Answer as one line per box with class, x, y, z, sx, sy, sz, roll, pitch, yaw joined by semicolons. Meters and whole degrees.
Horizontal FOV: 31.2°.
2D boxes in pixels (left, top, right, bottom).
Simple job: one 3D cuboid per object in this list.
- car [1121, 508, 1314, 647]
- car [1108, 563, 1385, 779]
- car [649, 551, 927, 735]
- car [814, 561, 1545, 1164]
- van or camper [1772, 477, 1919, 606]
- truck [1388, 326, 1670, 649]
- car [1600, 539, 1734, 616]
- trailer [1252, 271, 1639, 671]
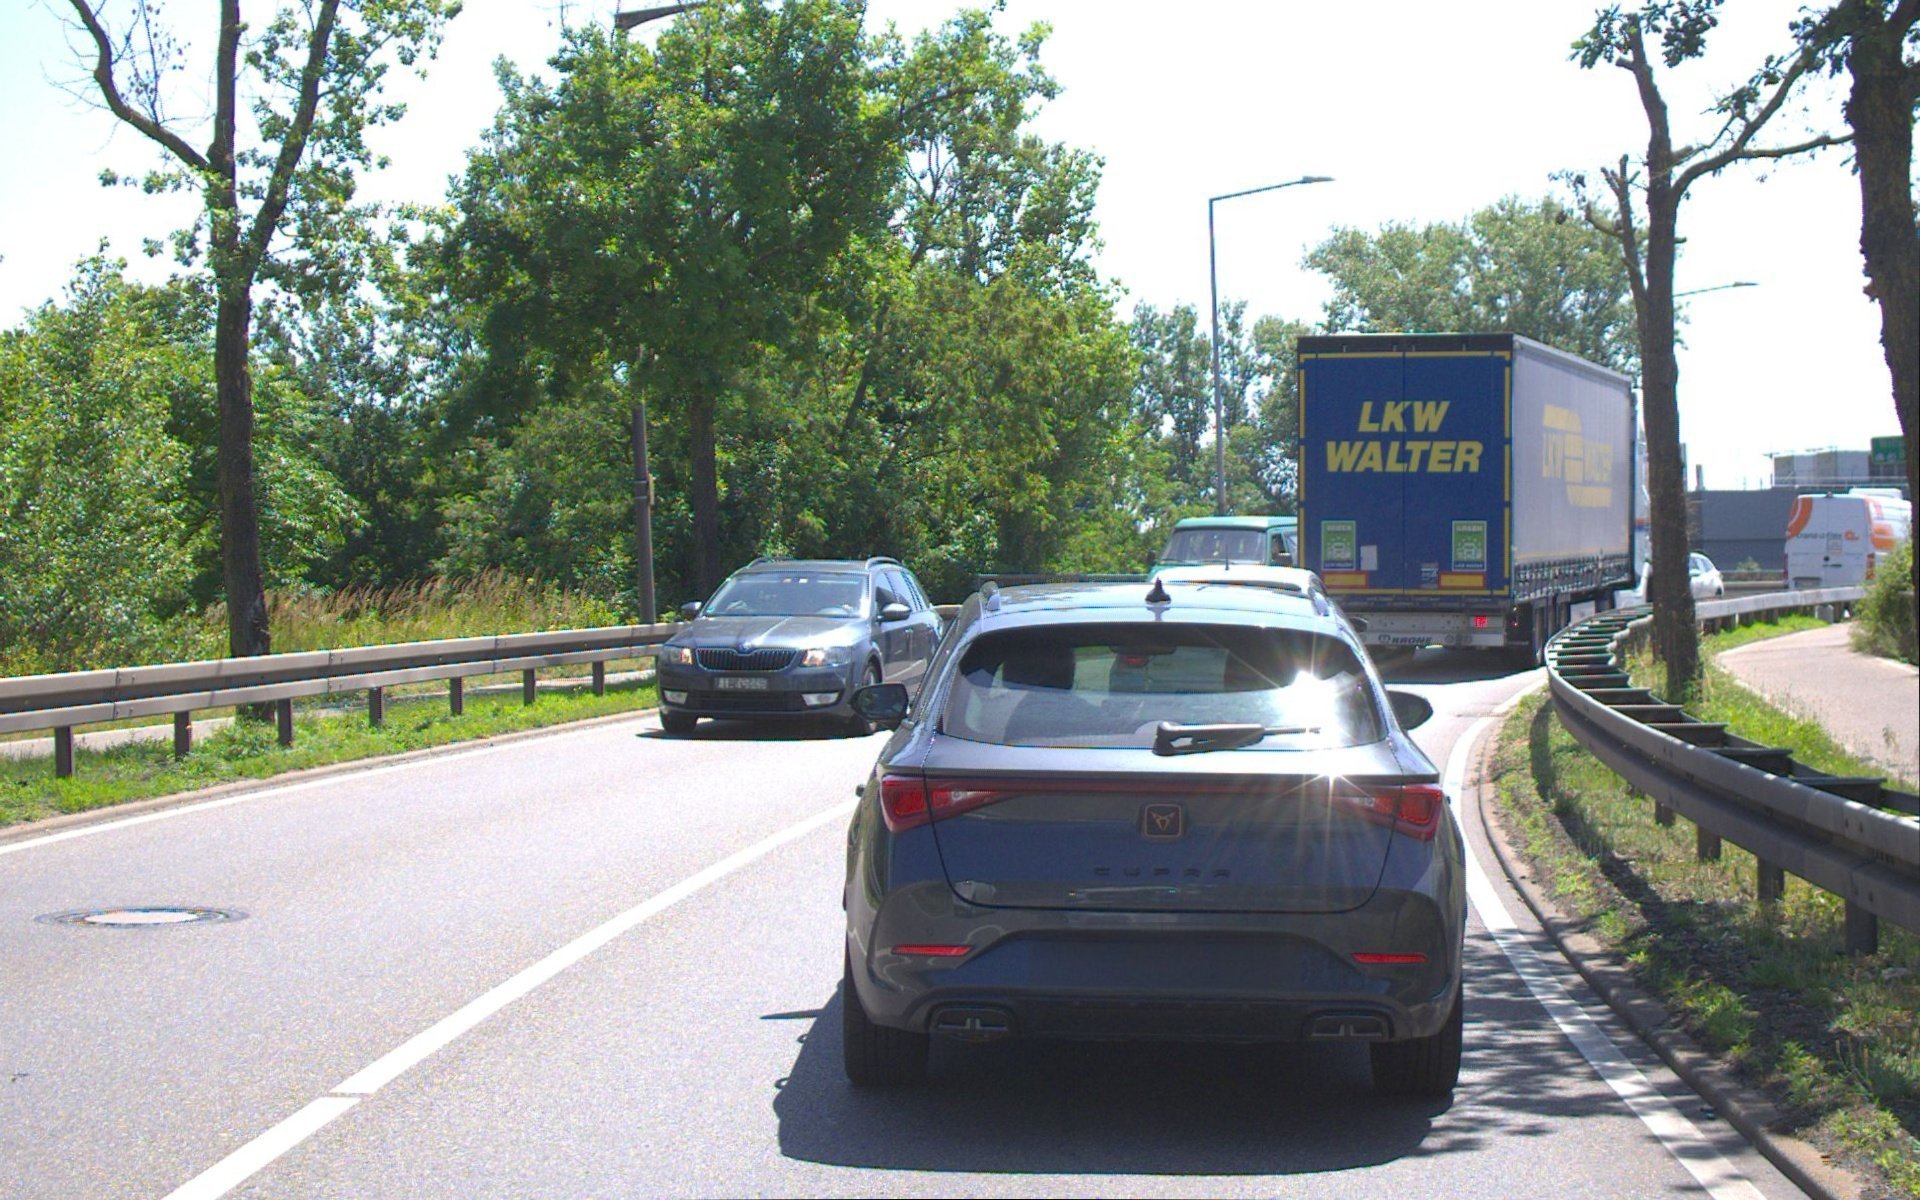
car;3.828;-0.348;50.355;1.831;1.932;4.772;0;1;17
car;2.212;0.474;25.802;1.594;1.456;3.543;1;1;12
car;-1.396;0.310;29.628;1.744;1.442;4.516;0;1;6
car;0.506;0.641;10.558;1.845;1.493;3.758;0;1;-1
van or camper;19.541;-1.286;75.120;2.206;2.702;5.917;0;1;27
truck;8.833;-1.634;52.626;3.173;4.569;7.390;1;0;18
car;15.262;-0.507;74.073;1.800;1.612;3.994;0;1;27
trailer;6.843;-1.597;46.193;3.136;4.598;12.938;1;1;17
